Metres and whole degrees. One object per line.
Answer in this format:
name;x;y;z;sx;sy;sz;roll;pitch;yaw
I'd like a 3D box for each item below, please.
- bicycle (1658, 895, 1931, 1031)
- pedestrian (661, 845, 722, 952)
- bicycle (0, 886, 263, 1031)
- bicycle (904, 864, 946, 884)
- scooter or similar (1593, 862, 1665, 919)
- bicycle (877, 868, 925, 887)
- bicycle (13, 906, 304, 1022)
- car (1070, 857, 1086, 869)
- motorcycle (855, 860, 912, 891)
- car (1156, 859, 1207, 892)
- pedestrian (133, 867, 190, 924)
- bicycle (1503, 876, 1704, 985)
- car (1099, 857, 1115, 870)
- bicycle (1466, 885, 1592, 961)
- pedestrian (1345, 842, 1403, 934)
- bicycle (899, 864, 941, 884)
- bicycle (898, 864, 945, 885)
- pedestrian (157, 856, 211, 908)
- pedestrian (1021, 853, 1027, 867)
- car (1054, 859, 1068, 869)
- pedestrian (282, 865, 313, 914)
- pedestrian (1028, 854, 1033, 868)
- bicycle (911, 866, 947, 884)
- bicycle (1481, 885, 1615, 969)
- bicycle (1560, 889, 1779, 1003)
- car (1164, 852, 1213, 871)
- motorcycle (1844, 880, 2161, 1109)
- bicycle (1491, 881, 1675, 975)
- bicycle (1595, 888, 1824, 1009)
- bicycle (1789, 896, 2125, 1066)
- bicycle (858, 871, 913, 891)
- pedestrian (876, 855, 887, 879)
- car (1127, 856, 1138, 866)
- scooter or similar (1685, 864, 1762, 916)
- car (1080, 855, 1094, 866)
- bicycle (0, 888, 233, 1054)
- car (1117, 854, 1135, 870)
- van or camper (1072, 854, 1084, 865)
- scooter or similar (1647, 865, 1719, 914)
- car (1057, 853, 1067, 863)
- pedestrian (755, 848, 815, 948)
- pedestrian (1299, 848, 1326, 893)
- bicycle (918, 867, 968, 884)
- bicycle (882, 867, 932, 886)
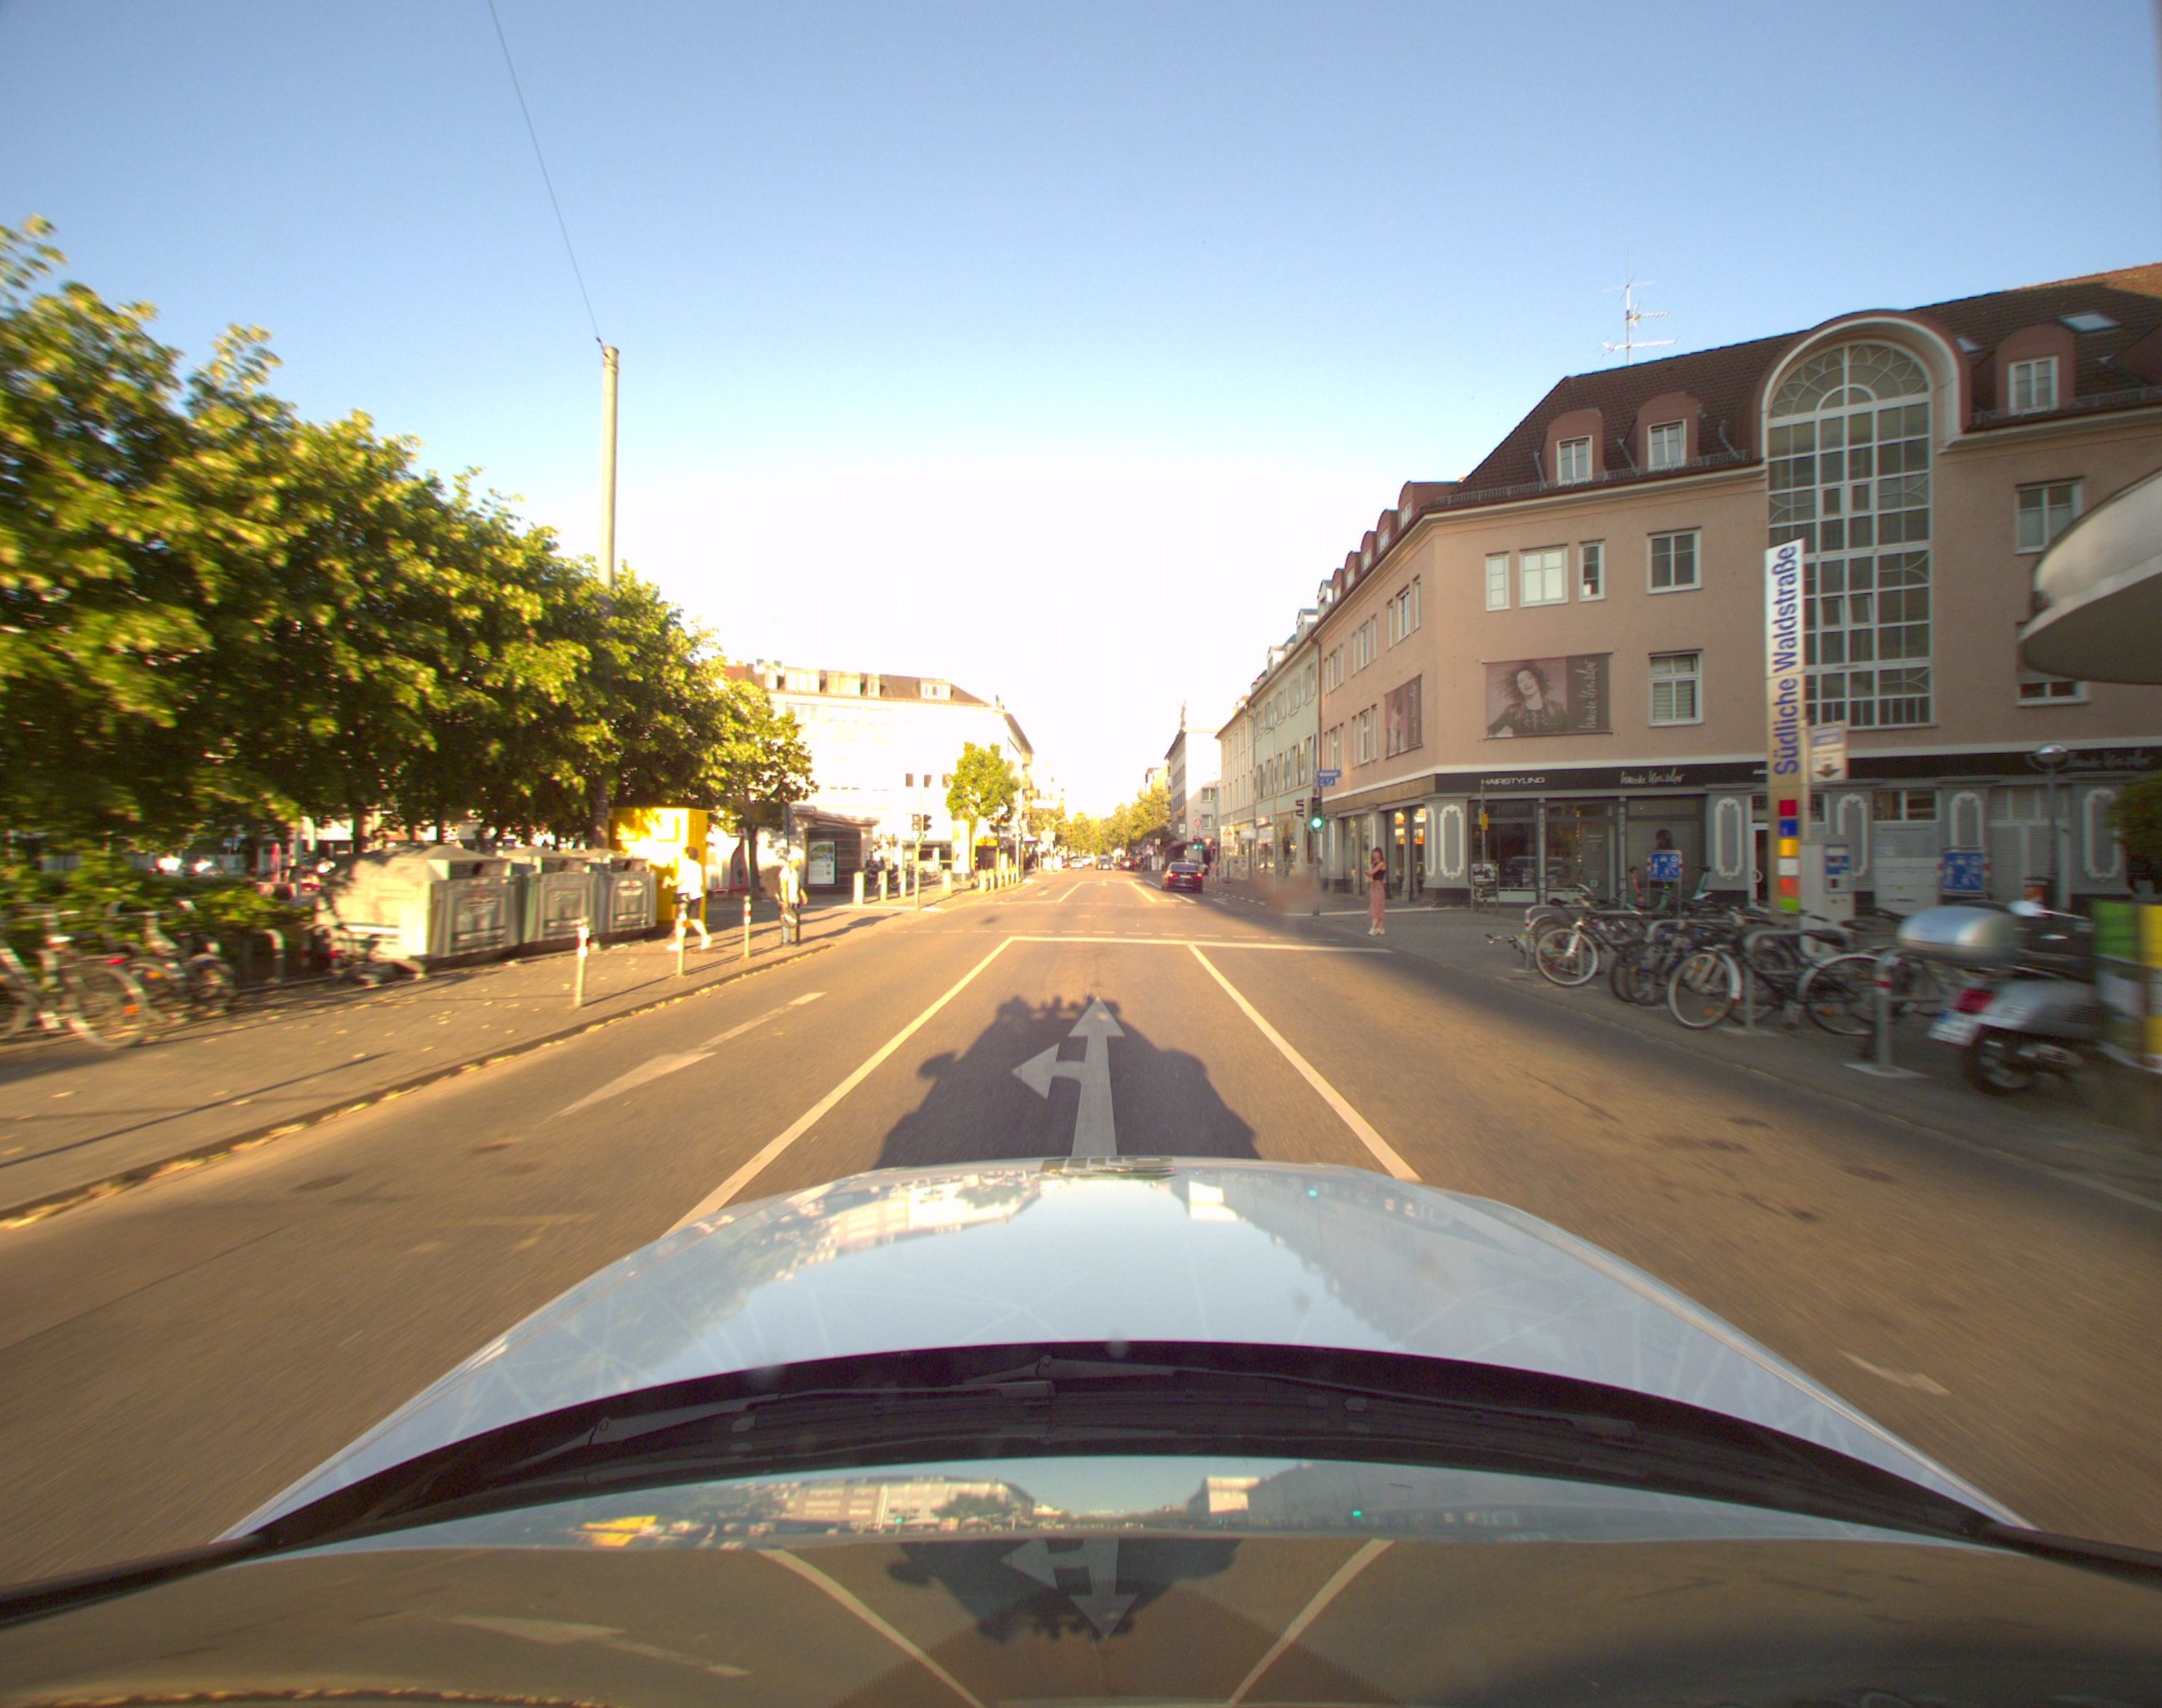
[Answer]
bicycle;6.182;0.925;7.111;1.879;1.112;0.593;0;-2;-2
pedestrian;-6.455;0.714;13.530;0.872;1.720;0.754;0;0;-23
bicycle;-8.835;0.920;7.332;2.423;1.237;0.462;0;0;-1
bicycle;-9.288;1.193;48.505;2.313;1.131;0.800;0;-1;3
scooter or similar;12.608;0.830;18.755;1.305;1.264;0.527;0;-1;23
bicycle;-9.182;1.196;41.578;2.320;0.919;0.700;0;-1;-1
bicycle;-8.908;1.049;7.920;2.036;0.971;0.636;2;0;-1
car;-0.421;1.238;113.210;1.886;1.596;4.003;0;0;3
motorcycle;-9.289;0.982;38.426;2.404;1.426;1.113;0;-1;1
car;4.760;0.989;39.167;1.883;1.492;4.203;0;0;-1
pedestrian;-33.477;1.490;29.664;1.049;2.014;0.963;0;0;13
bicycle;6.021;0.862;9.441;1.879;1.167;0.722;-1;0;-2
car;3.174;1.152;98.313;1.877;1.486;4.003;0;0;3
bicycle;6.218;0.951;11.338;1.495;1.015;0.512;0;0;-1
pedestrian;5.648;0.633;15.709;0.793;1.720;0.810;0;0;-5
bicycle;-9.397;1.190;47.590;2.229;1.135;0.811;0;-1;-1
bicycle;-9.050;1.167;46.368;2.516;1.146;0.700;0;-1;-1
pedestrian;-31.819;0.978;28.898;0.700;1.778;1.201;-1;-1;37
pedestrian;-7.165;0.780;102.434;0.681;1.721;0.702;0;0;2
car;-3.060;1.512;125.792;1.886;1.596;4.003;0;0;3
pedestrian;-28.891;1.284;30.027;0.885;1.778;0.714;-1;-1;40
pedestrian;-6.533;0.877;104.901;0.600;1.721;0.575;0;0;-13
bicycle;-9.298;1.300;49.854;2.083;1.063;0.682;0;-1;2
bicycle;6.207;0.958;10.849;1.496;1.026;0.512;-1;0;-3
bicycle;6.096;0.938;8.486;1.878;1.112;0.601;0;0;-1
car;9.353;0.672;70.704;3.916;1.604;2.313;0;0;-44
motorcycle;6.033;0.830;5.120;1.807;1.263;0.715;-1;0;-1
bicycle;6.275;0.909;10.245;1.879;1.112;0.761;0;0;-2
bicycle;6.100;0.902;7.946;1.879;1.112;0.521;0;0;-2
bicycle;6.389;0.900;5.988;1.879;1.112;0.593;-1;0;-2
bicycle;-9.648;1.327;40.243;2.516;0.919;0.700;0;-1;-1
pedestrian;-13.527;0.851;55.272;0.551;1.610;0.636;0;-1;-32
car;9.145;1.216;144.399;1.775;1.596;3.633;0;0;-1
scooter or similar;14.928;0.823;18.942;1.307;1.164;0.511;0;-1;13
car;1.005;1.002;129.643;1.985;1.750;4.003;0;0;3
bicycle;-8.431;0.923;6.641;2.423;1.237;0.517;1;0;-1
car;5.099;0.899;93.173;1.986;1.750;4.002;0;0;2
van or camper;-0.659;1.245;183.670;2.466;2.405;3.997;0;0;-2
scooter or similar;14.472;0.843;19.608;1.309;1.164;0.525;0;-1;8
car;-4.073;0.864;172.834;1.820;2.013;3.679;0;0;3
pedestrian;-5.236;0.755;14.445;0.882;1.720;0.713;0;0;-10
pedestrian;9.185;0.649;32.332;0.755;1.777;1.047;0;0;-3
bicycle;-8.559;1.317;50.712;2.929;1.022;0.844;0;-1;4
bicycle;-9.319;1.213;43.693;2.516;0.997;0.933;0;-1;-1
